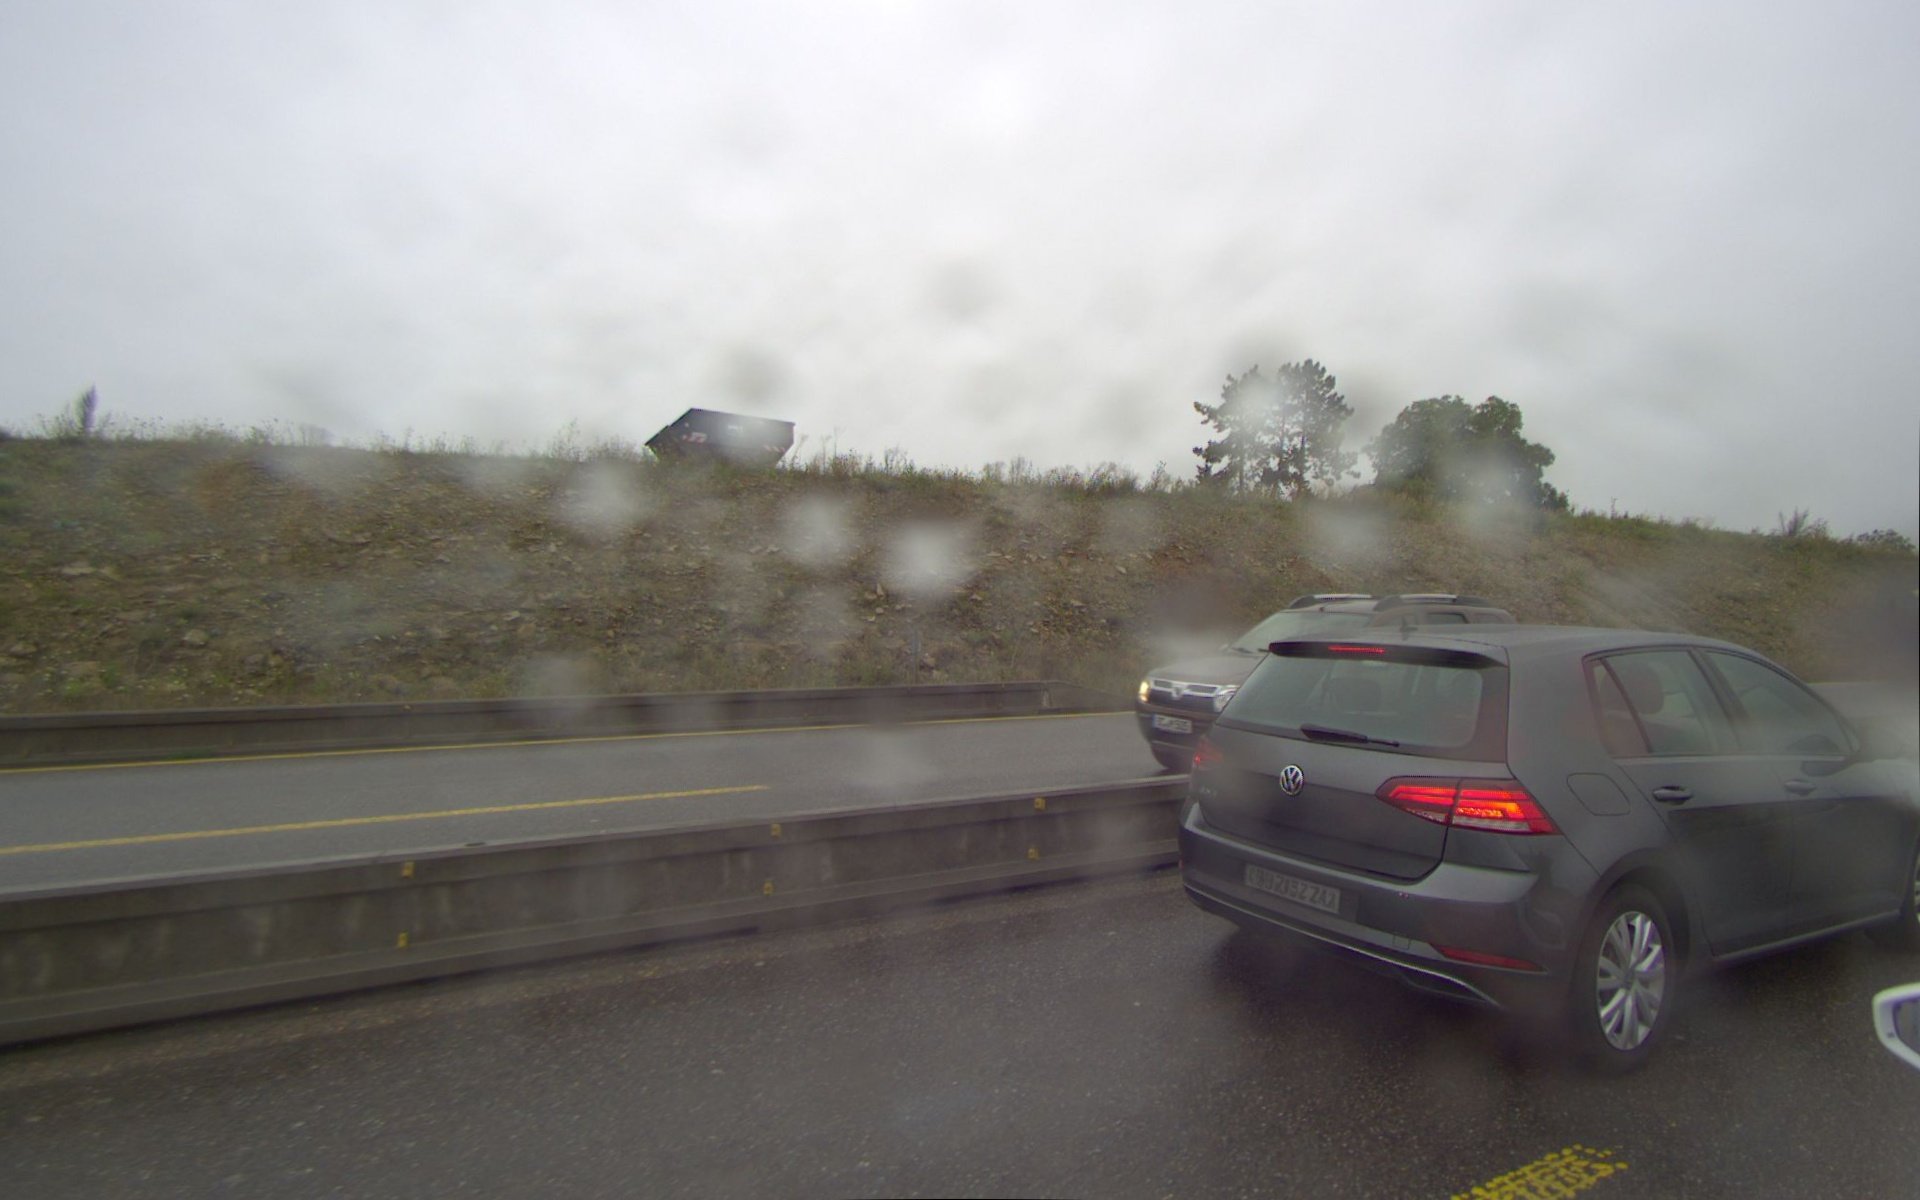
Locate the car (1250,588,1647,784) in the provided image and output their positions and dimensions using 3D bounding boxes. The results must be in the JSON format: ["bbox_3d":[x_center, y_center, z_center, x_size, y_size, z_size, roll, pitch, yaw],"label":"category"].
[{"bbox_3d":[5.003,0.747,10.173,3.955,1.619,1.751,1,1,-32],"label":"car"}]

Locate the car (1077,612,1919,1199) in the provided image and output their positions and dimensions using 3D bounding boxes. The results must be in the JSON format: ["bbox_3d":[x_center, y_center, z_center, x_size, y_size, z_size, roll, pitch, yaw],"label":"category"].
[{"bbox_3d":[2.716,0.853,4.423,4.318,1.526,1.606,1,-2,-31],"label":"car"}]

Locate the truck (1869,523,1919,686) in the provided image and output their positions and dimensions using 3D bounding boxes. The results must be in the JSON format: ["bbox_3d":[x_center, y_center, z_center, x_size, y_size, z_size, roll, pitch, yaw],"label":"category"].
[{"bbox_3d":[27.733,0.185,26.477,8.313,4.050,2.758,1,0,-27],"label":"truck"}]
